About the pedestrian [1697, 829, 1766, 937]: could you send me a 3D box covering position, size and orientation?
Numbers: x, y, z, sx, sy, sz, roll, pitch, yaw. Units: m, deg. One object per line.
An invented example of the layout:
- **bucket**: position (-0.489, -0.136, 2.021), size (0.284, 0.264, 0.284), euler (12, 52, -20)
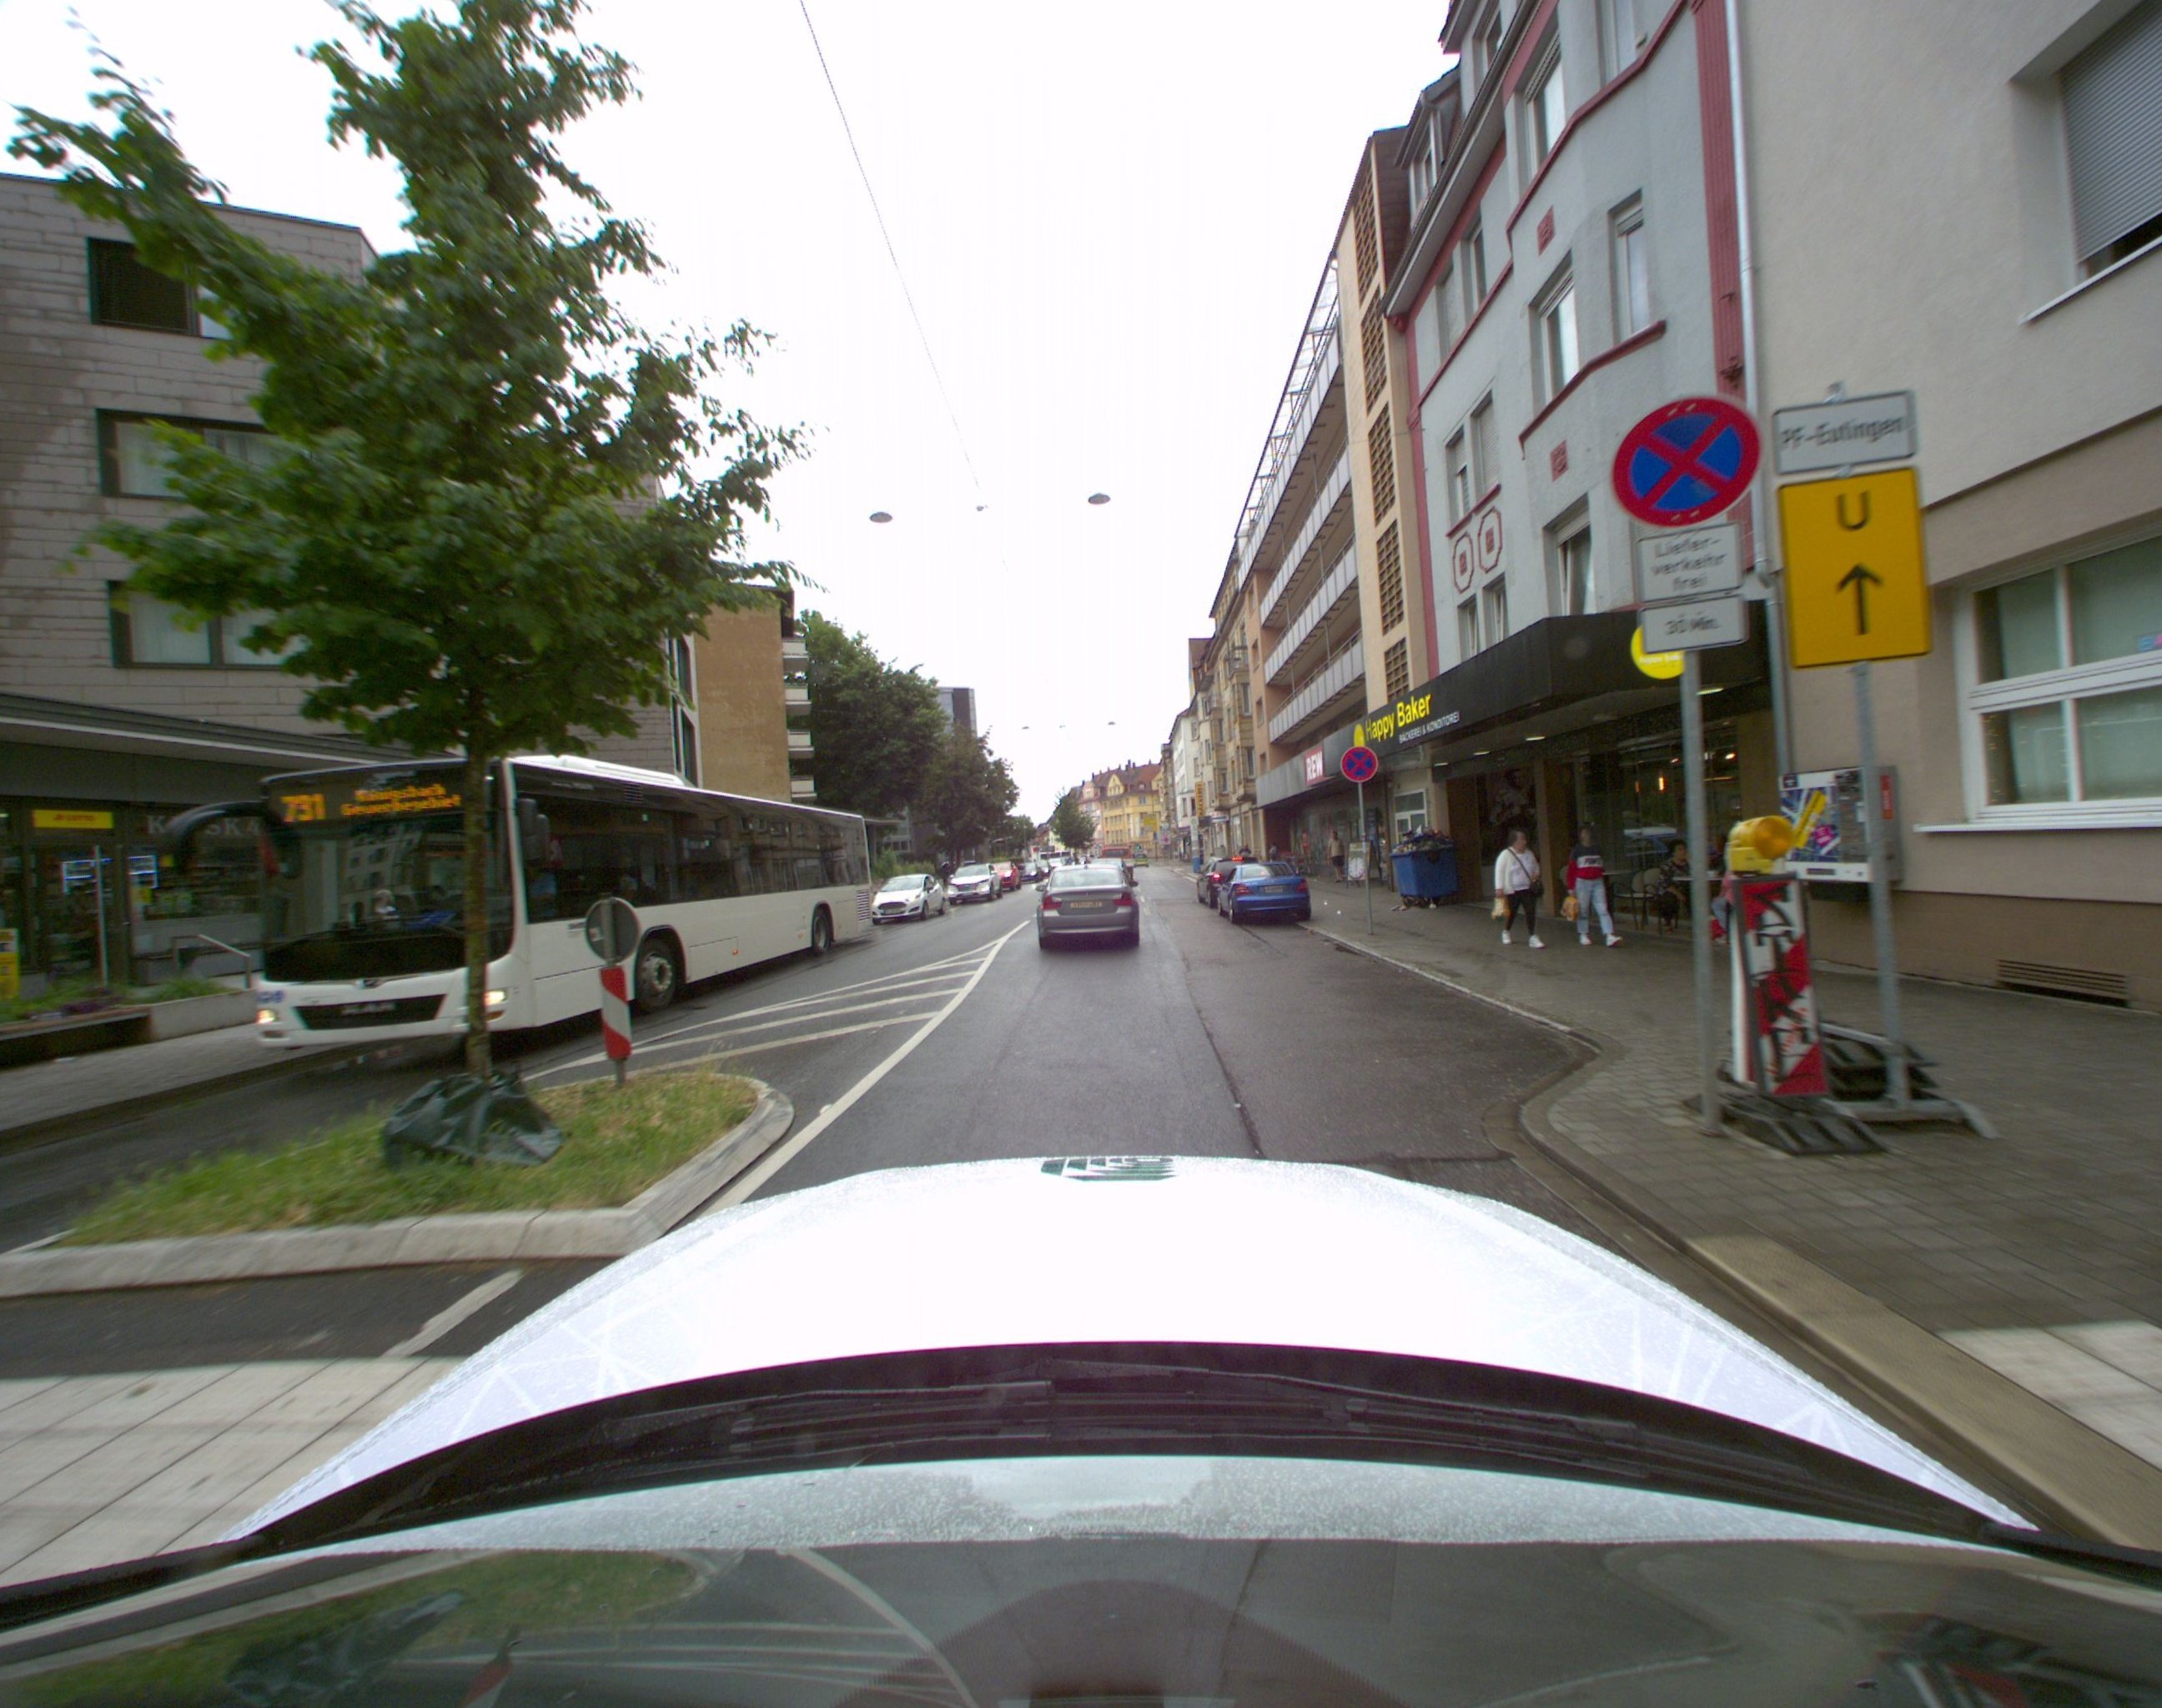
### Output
- **pedestrian**: position (7.577, 0.335, 9.500), size (0.410, 1.203, 0.357), euler (-6, 0, 5)

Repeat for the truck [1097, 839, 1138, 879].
- **truck**: position (1.991, 0.323, 45.996), size (2.208, 2.117, 4.652), euler (0, -2, 1)

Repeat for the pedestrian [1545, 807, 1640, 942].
- **pedestrian**: position (6.554, 0.267, 10.477), size (0.745, 1.661, 0.756), euler (-1, -3, 9)

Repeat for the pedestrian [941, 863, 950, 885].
- **pedestrian**: position (-12.119, 1.777, 72.670), size (0.797, 2.014, 0.534), euler (0, -3, -11)

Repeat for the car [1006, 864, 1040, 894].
- **car**: position (-4.167, 1.829, 59.119), size (1.986, 2.014, 4.001), euler (-1, -2, 2)

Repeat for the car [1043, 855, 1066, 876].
- **car**: position (-2.625, 1.159, 82.167), size (1.986, 2.014, 4.001), euler (-1, -2, 2)

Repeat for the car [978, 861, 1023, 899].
- **car**: position (-4.484, 1.491, 45.936), size (1.986, 2.014, 4.001), euler (-1, -2, 2)

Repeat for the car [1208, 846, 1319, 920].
- **car**: position (4.058, 0.630, 18.754), size (1.802, 1.519, 4.002), euler (0, -1, 2)

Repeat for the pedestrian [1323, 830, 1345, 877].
- **pedestrian**: position (9.112, -0.015, 29.329), size (0.611, 1.661, 0.756), euler (-1, -3, 9)

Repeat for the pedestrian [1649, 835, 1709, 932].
- **pedestrian**: position (7.741, 0.374, 10.551), size (0.410, 1.203, 0.357), euler (-6, 0, 5)

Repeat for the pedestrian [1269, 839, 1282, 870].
- **pedestrian**: position (9.108, 0.024, 38.125), size (0.560, 1.421, 0.799), euler (-1, -3, 16)

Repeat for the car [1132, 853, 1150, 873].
- **car**: position (6.370, 1.018, 87.313), size (1.699, 2.014, 4.000), euler (-1, -2, 1)

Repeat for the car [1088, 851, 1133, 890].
- **car**: position (1.092, 0.661, 31.155), size (1.596, 1.420, 3.287), euler (-1, -2, 1)

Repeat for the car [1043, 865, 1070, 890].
- **car**: position (-2.055, 1.998, 69.182), size (1.986, 2.014, 4.001), euler (-1, -2, 2)

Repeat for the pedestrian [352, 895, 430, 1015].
- **pedestrian**: position (-10.229, 1.468, 12.099), size (0.660, 1.706, 0.657), euler (0, -3, -19)

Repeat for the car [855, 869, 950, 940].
- **car**: position (-5.663, 1.592, 26.337), size (1.986, 2.014, 4.001), euler (-3, -2, 2)

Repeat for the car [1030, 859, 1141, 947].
- **car**: position (0.160, 0.810, 14.721), size (1.748, 1.362, 3.167), euler (-2, -1, 3)

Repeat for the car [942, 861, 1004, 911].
- **car**: position (-4.604, 1.390, 35.146), size (1.986, 2.014, 4.001), euler (-1, -2, 2)

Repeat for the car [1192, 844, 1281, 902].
- **car**: position (4.516, 0.600, 24.284), size (1.986, 1.519, 4.001), euler (-2, -2, 2)

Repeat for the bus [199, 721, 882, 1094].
- **bus**: position (-6.452, 0.445, 13.478), size (2.671, 3.200, 11.962), euler (-5, 0, 2)

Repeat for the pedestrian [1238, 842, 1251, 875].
- **pedestrian**: position (7.149, 0.200, 35.695), size (0.519, 1.421, 0.431), euler (-1, -3, 12)

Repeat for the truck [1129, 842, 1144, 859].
- **truck**: position (8.731, -0.523, 127.849), size (2.208, 2.545, 4.781), euler (-1, -2, 2)

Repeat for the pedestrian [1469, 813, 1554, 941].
- **pedestrian**: position (5.822, 0.316, 11.067), size (0.744, 1.661, 0.839), euler (-1, -3, 9)

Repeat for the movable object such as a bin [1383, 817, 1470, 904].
- **movable object such as a bin**: position (7.310, 0.160, 17.329), size (1.118, 1.703, 1.433), euler (-4, -2, 0)
